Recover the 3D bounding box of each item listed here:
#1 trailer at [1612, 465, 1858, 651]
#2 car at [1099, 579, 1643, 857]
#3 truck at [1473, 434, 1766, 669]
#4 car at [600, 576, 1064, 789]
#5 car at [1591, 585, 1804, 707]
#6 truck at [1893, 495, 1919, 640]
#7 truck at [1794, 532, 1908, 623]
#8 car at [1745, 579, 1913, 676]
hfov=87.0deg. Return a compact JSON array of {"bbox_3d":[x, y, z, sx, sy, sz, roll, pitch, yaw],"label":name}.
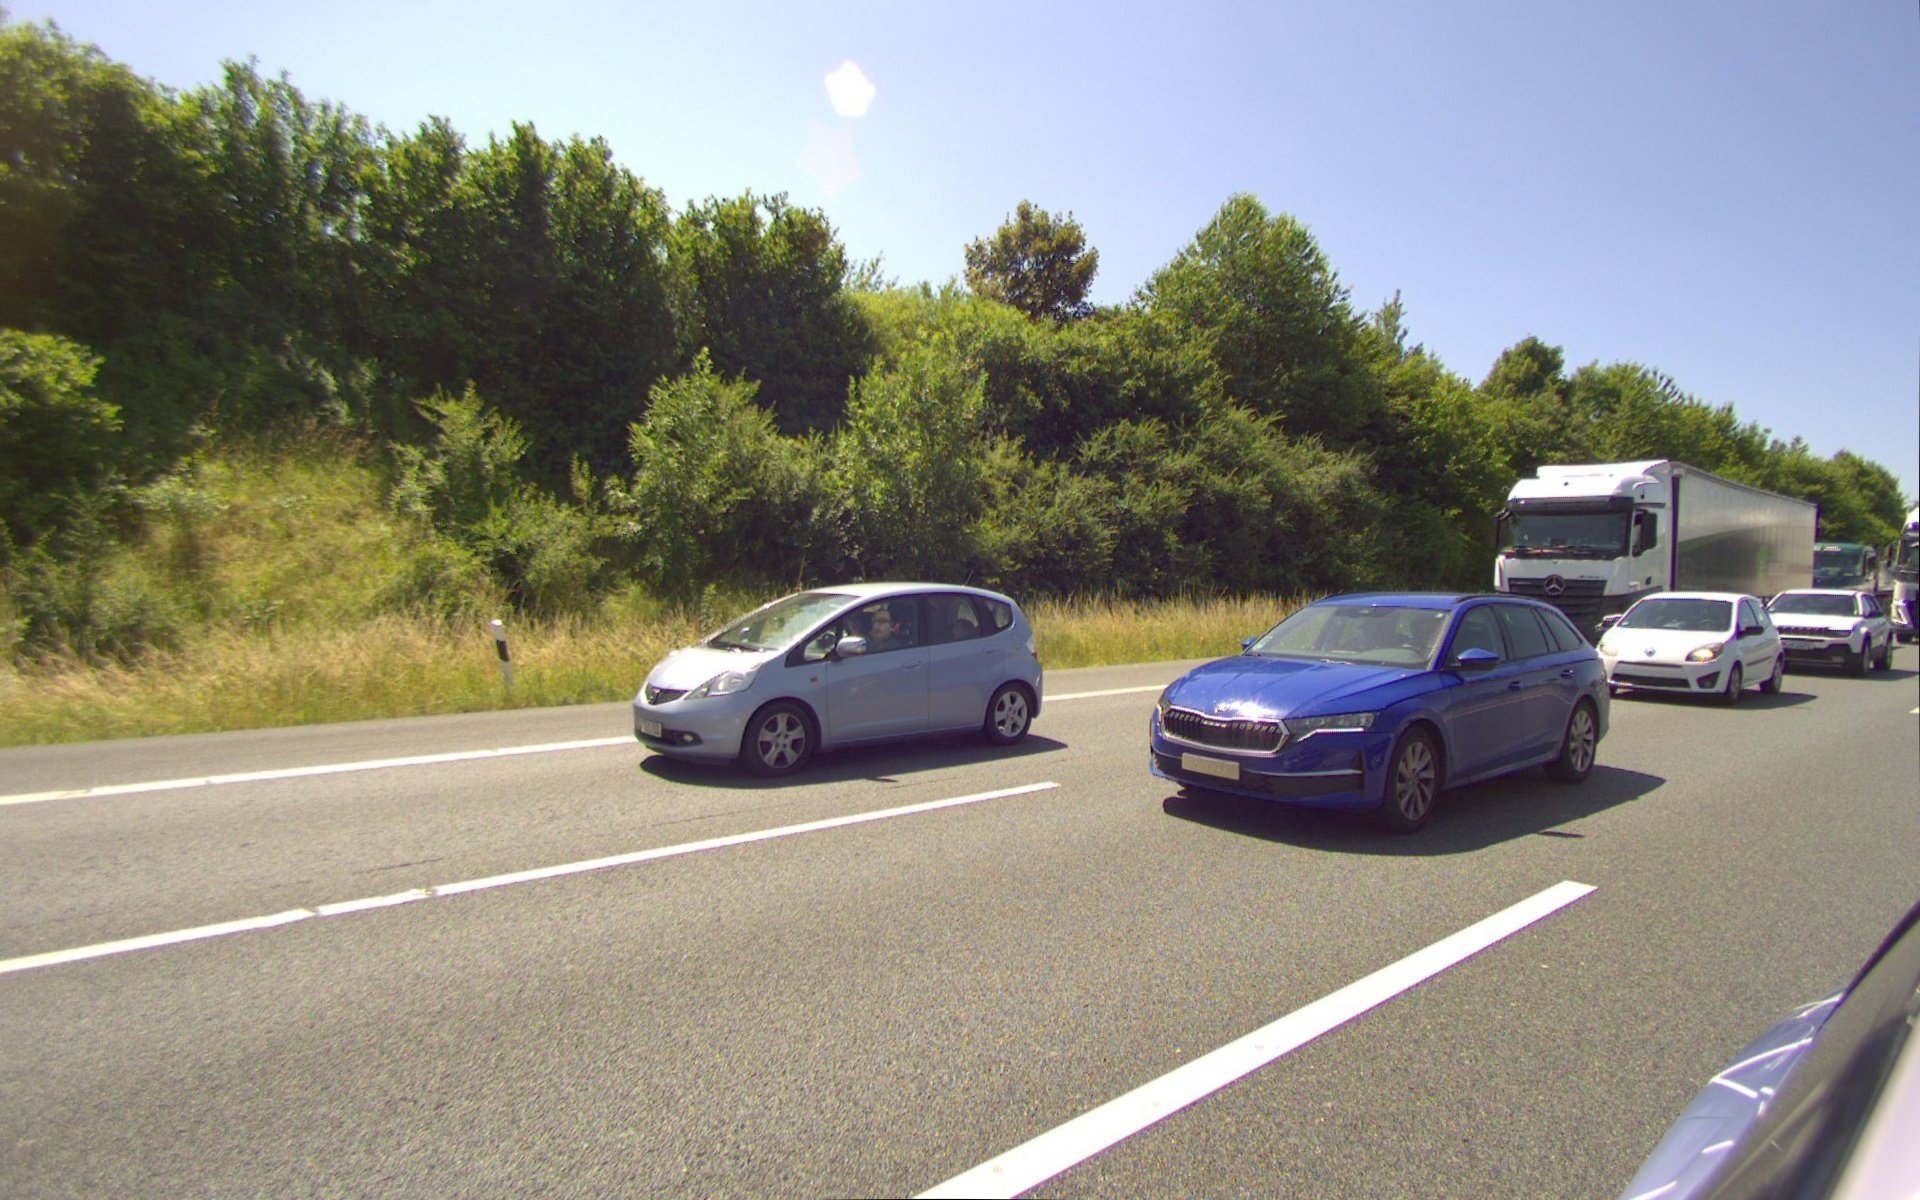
[{"bbox_3d":[21.675,-1.042,27.872,11.862,4.208,2.879,-1,1,-40],"label":"trailer"},{"bbox_3d":[3.247,0.595,7.549,4.490,1.434,1.781,-1,3,-39],"label":"car"},{"bbox_3d":[14.462,-0.938,21.860,8.322,4.208,2.880,-1,1,-39],"label":"truck"},{"bbox_3d":[-1.011,0.553,9.072,3.853,1.479,1.665,-1,2,-41],"label":"car"},{"bbox_3d":[10.632,0.554,14.505,3.743,1.451,1.608,-1,3,-40],"label":"car"},{"bbox_3d":[30.490,-0.934,30.184,8.210,4.044,2.750,-1,1,-39],"label":"truck"},{"bbox_3d":[33.296,-0.829,37.769,5.573,3.185,2.299,-1,1,-39],"label":"truck"},{"bbox_3d":[16.304,0.425,18.933,3.816,1.577,1.748,-1,3,-40],"label":"car"}]
